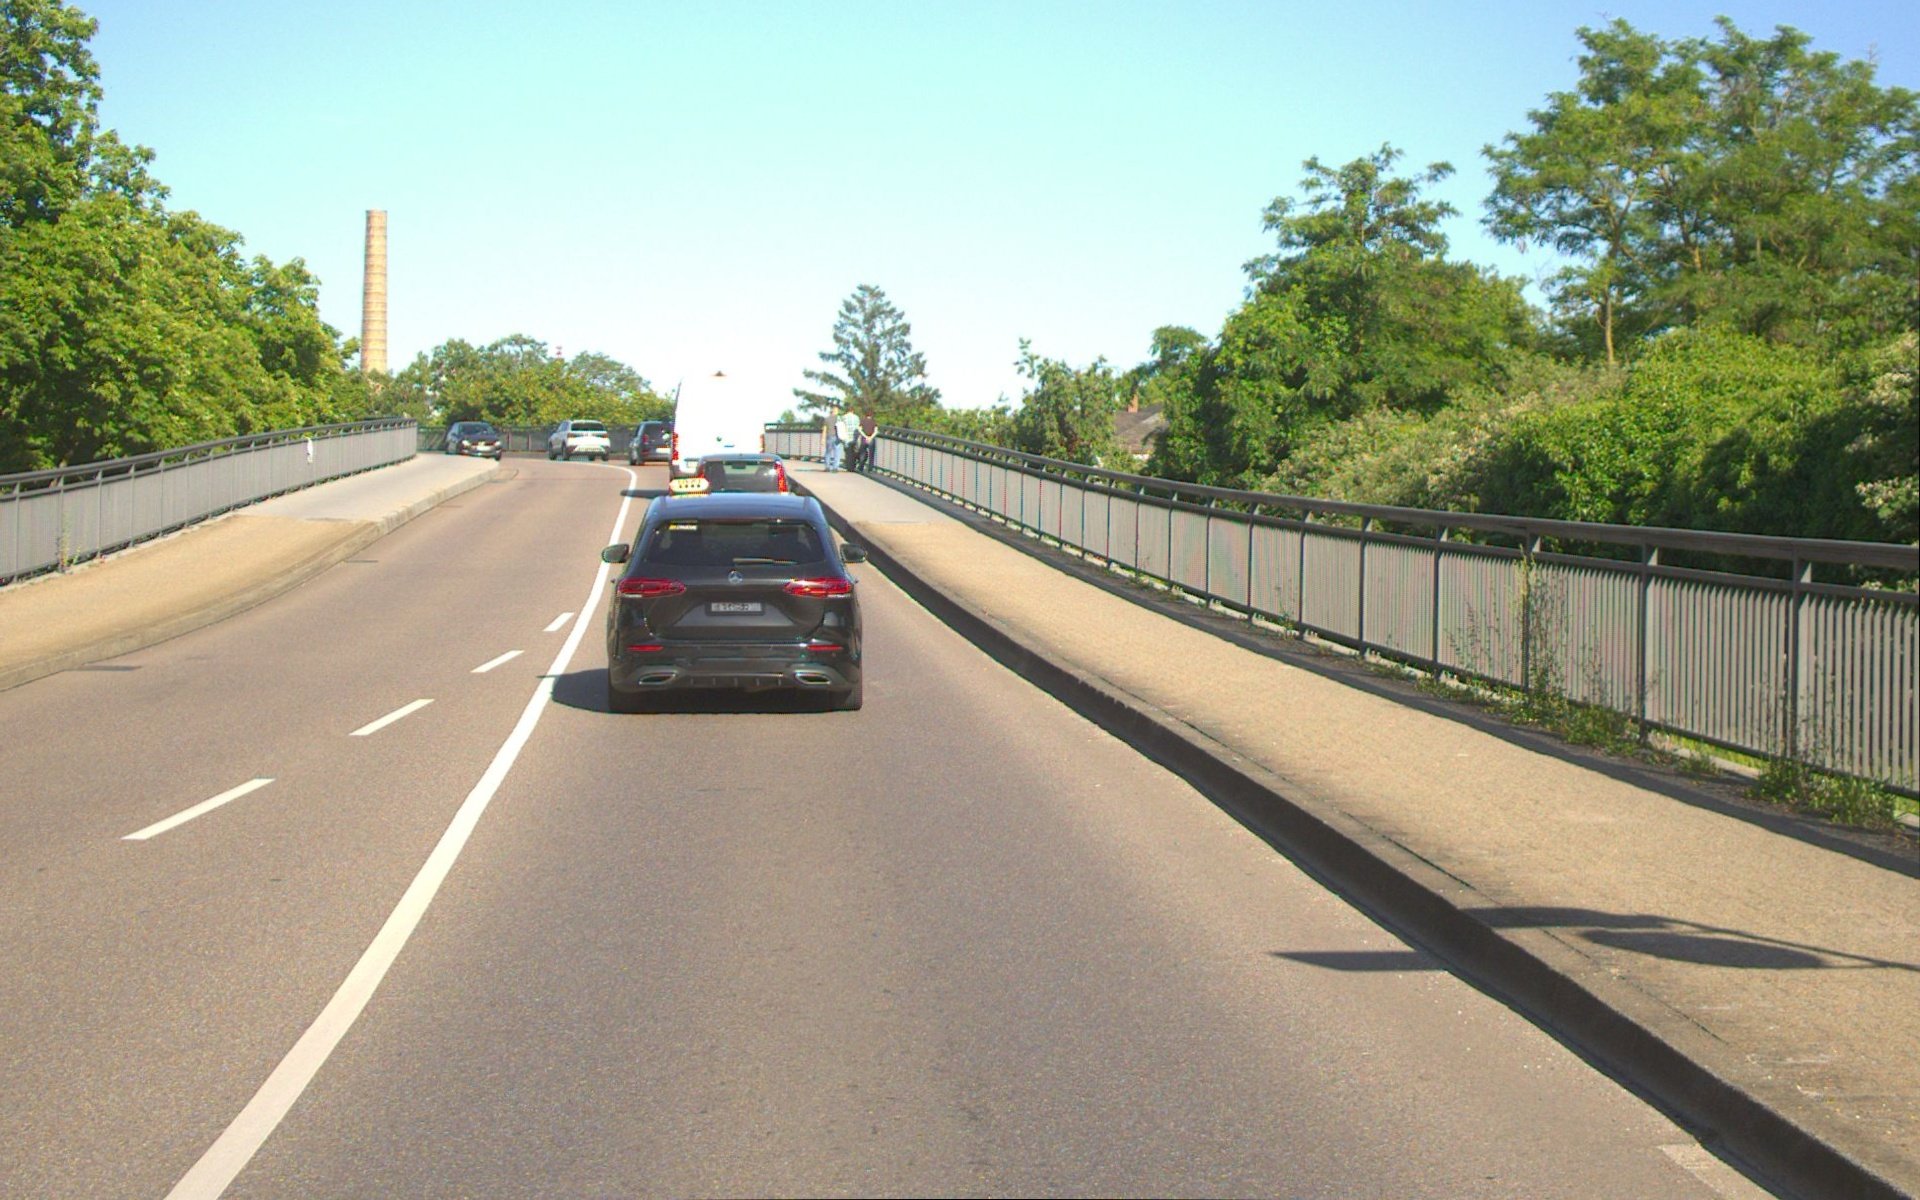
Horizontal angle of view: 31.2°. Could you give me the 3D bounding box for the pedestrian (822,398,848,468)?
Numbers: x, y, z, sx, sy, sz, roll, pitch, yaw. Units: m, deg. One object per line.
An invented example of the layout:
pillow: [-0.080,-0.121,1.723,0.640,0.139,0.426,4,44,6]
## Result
pedestrian: [-3.225,-4.289,88.387,0.602,1.744,0.717,1,1,-5]

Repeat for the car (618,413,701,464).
car: [-9.904,-5.321,113.636,1.919,1.483,4.269,0,0,7]

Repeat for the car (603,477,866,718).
car: [-1.609,-0.089,25.268,1.769,1.587,3.990,0,3,-2]

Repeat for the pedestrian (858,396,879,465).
pedestrian: [-2.350,-4.344,88.181,0.471,1.744,0.654,1,1,-5]

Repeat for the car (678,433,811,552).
car: [-3.145,-1.577,50.738,1.804,1.634,4.001,1,1,-2]

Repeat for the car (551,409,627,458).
car: [-14.158,-6.343,131.501,1.994,1.674,3.999,0,0,8]

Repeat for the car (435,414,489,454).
car: [-18.973,-6.346,131.094,1.769,1.469,3.990,-1,3,-5]

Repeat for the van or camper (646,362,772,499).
van or camper: [-5.515,-3.610,74.796,2.225,2.730,7.082,1,1,-8]

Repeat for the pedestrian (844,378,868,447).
pedestrian: [-2.695,-4.852,89.170,0.549,1.744,0.739,1,1,-5]
